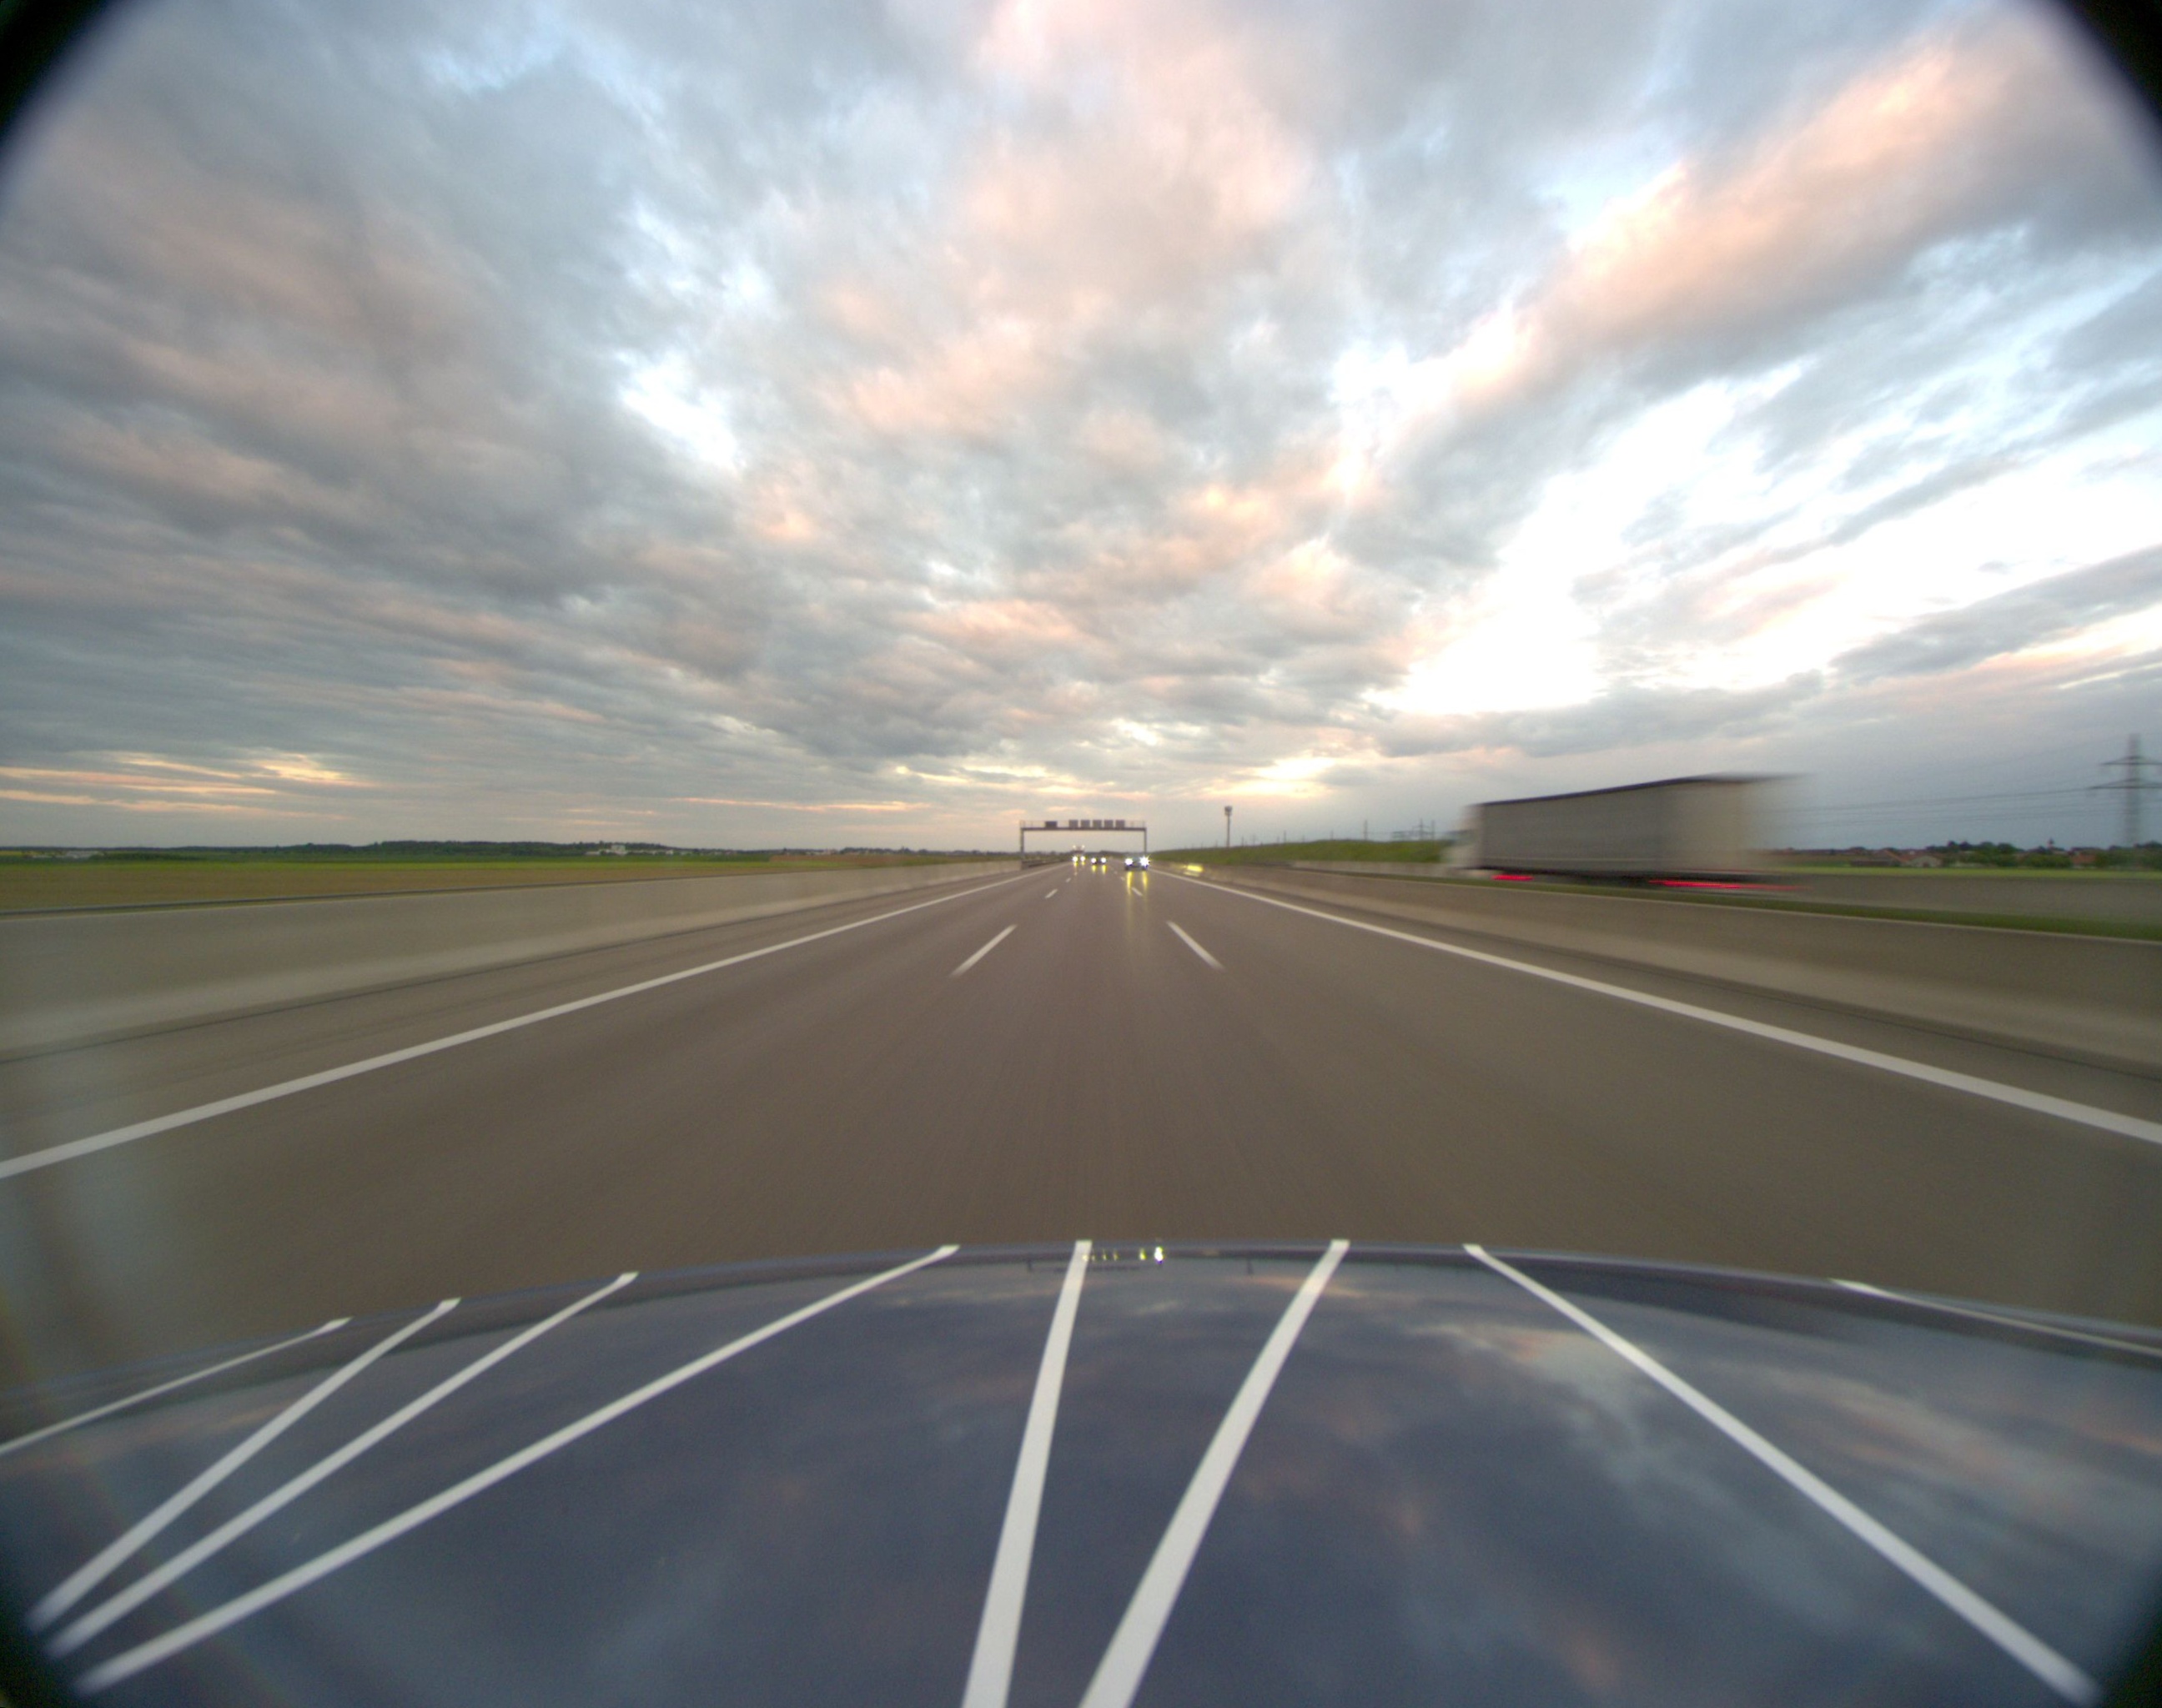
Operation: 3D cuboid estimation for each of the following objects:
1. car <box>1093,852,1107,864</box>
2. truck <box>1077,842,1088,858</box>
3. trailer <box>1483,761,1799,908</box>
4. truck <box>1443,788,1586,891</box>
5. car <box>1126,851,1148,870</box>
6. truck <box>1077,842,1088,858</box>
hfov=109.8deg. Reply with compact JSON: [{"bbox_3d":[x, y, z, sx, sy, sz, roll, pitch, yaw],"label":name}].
[{"bbox_3d":[2.865,0.612,115.944,1.998,1.652,4.851,-2,0,2],"label":"car"},{"bbox_3d":[0.300,-0.903,195.286,2.596,3.999,5.860,-1,0,2],"label":"truck"},{"bbox_3d":[20.241,-0.583,29.275,2.824,4.327,12.838,-2,0,1],"label":"trailer"},{"bbox_3d":[20.316,-0.623,36.152,2.825,4.327,6.738,-2,0,0],"label":"truck"},{"bbox_3d":[5.447,0.601,74.418,1.998,1.652,4.000,-2,0,2],"label":"car"},{"bbox_3d":[0.481,-0.939,201.403,2.596,3.999,12.986,-1,0,2],"label":"truck"}]
